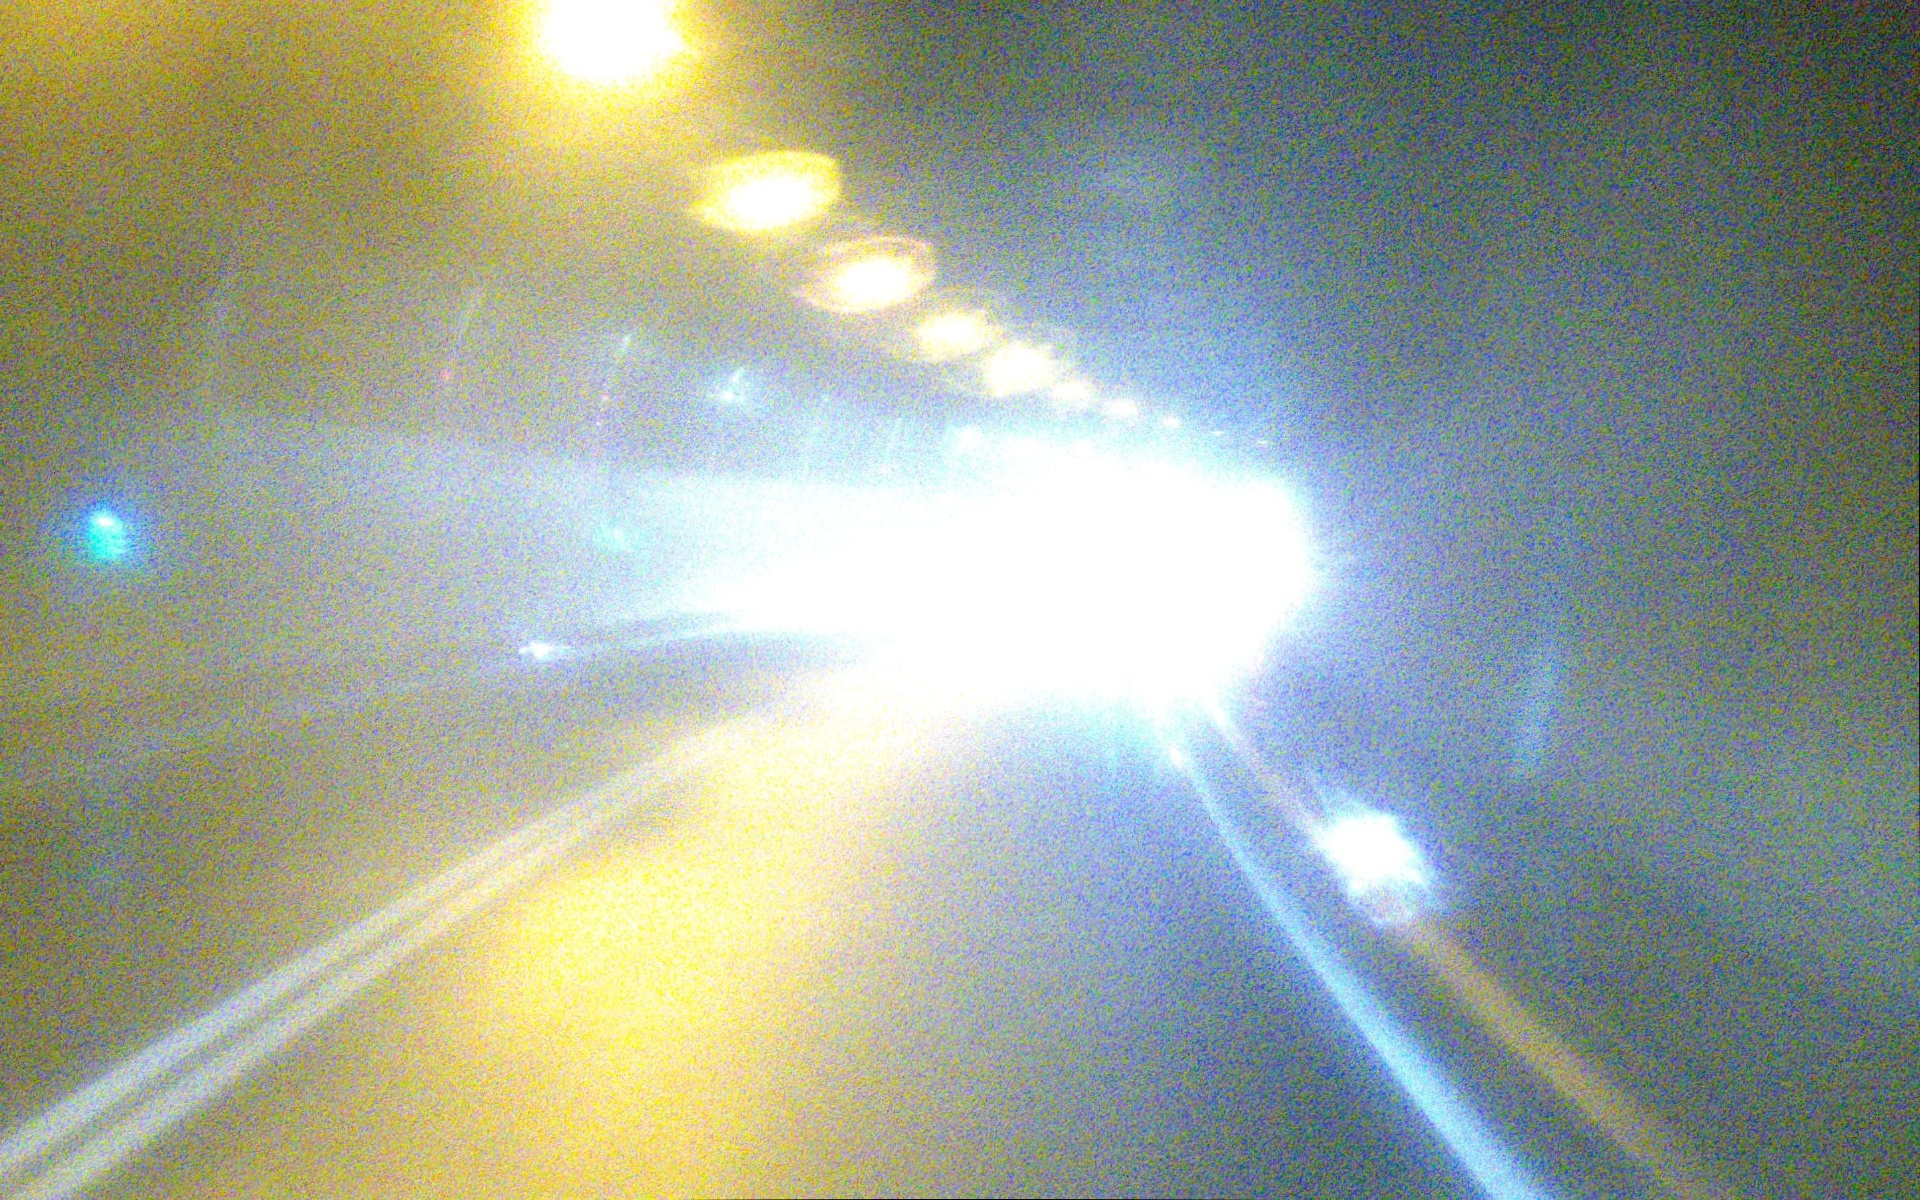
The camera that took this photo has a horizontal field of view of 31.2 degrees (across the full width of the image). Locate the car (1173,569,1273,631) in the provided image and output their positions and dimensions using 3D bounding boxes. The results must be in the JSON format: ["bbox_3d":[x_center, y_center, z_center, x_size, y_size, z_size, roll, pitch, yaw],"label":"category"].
[{"bbox_3d":[7.313,-0.022,95.370,1.995,1.645,3.997,1,1,16],"label":"car"}]

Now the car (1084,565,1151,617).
[{"bbox_3d":[4.569,-0.275,100.311,1.626,1.442,3.937,1,1,-2],"label":"car"}]
